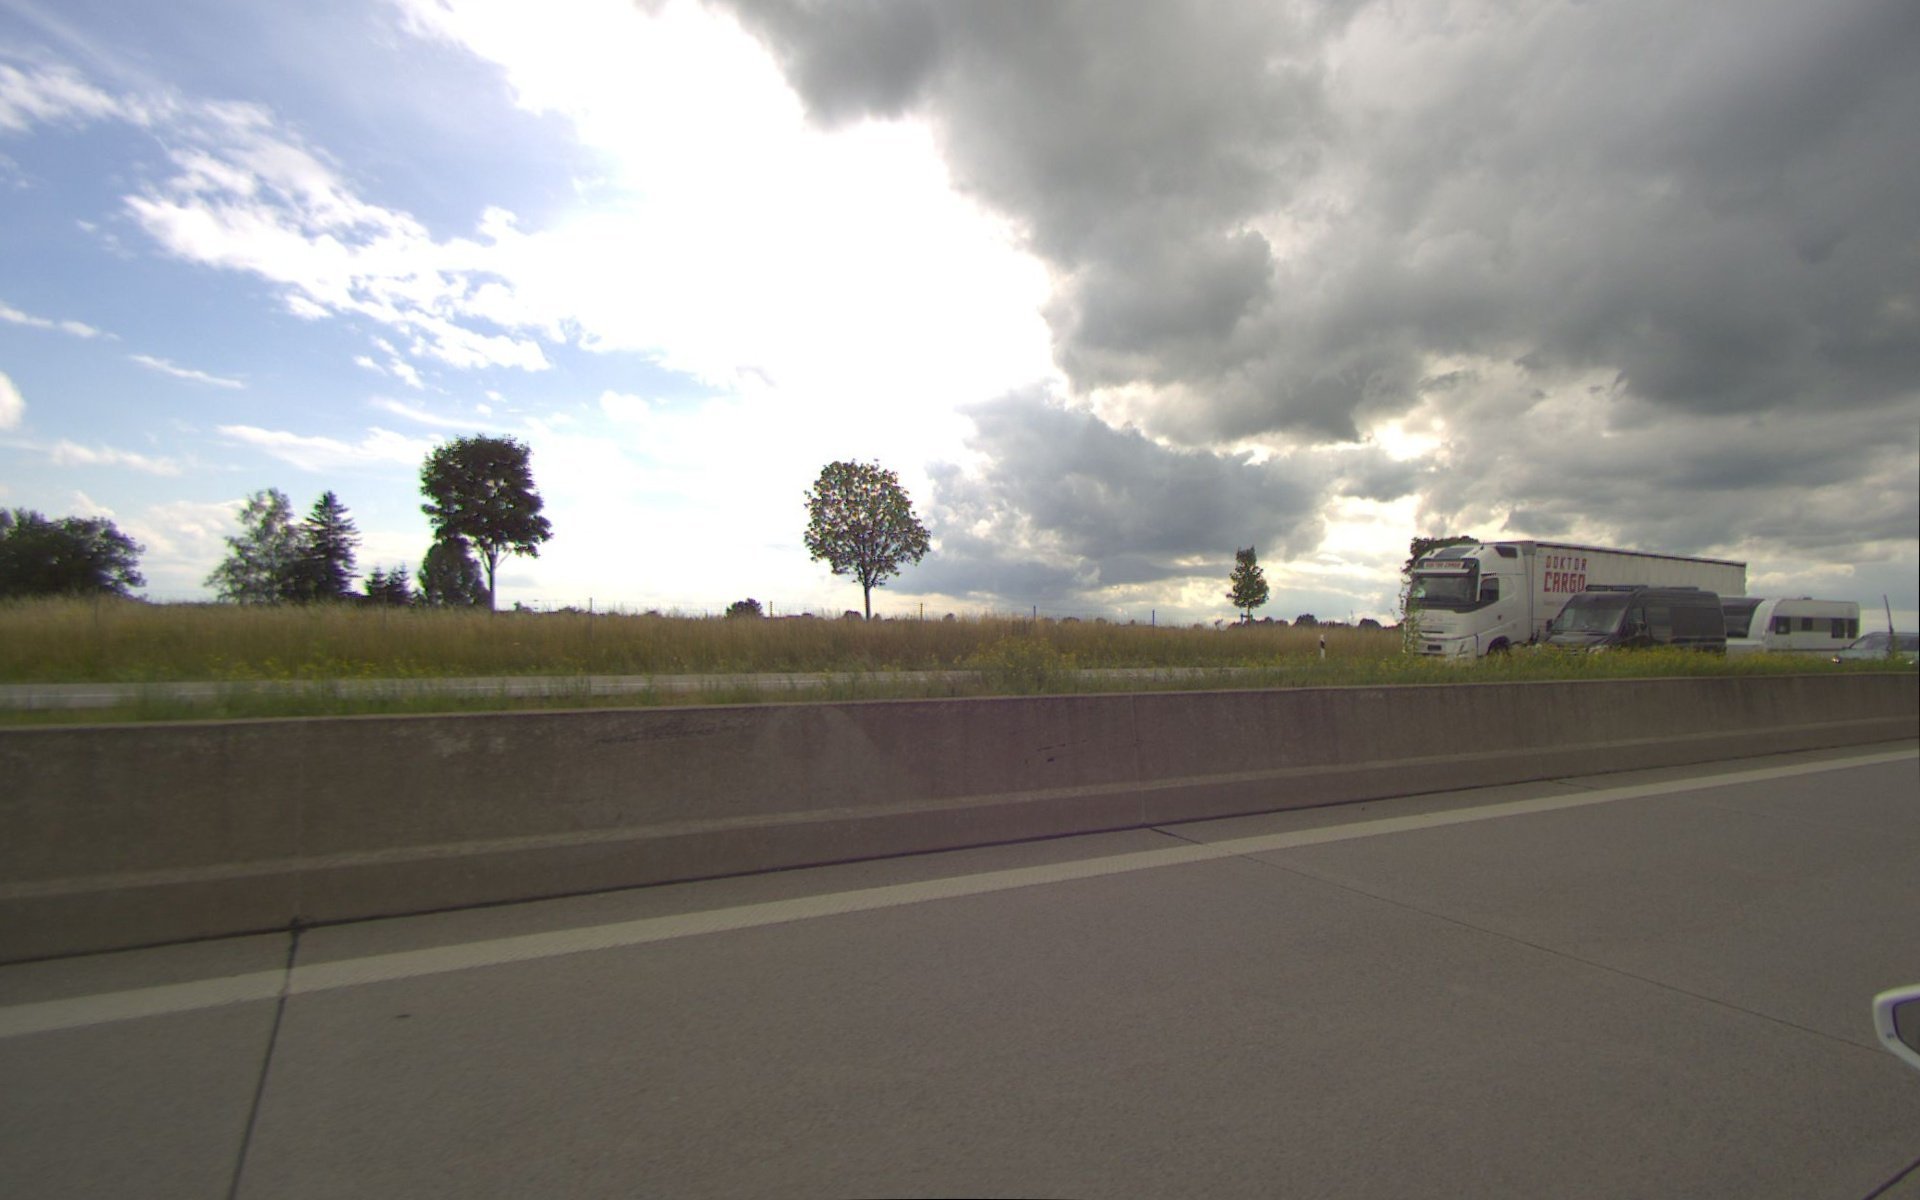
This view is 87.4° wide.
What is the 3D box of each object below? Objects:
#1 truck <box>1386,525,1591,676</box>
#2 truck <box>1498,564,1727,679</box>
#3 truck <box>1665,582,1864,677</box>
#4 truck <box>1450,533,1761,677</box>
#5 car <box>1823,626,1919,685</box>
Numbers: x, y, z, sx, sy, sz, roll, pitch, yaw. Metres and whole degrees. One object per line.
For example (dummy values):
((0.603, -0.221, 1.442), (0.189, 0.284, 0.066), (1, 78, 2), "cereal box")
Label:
((16.581, 0.118, 31.466), (6.020, 4.312, 2.828), (2, -1, -30), "truck")
((17.558, 0.587, 26.880), (7.044, 2.761, 2.240), (1, 0, -31), "truck")
((25.638, 0.929, 31.956), (6.837, 2.761, 2.603), (2, 0, -30), "truck")
((22.964, 0.409, 35.164), (14.395, 4.312, 2.827), (3, -1, -30), "truck")
((26.335, 1.531, 28.262), (4.165, 1.501, 1.983), (2, -1, -32), "car")
